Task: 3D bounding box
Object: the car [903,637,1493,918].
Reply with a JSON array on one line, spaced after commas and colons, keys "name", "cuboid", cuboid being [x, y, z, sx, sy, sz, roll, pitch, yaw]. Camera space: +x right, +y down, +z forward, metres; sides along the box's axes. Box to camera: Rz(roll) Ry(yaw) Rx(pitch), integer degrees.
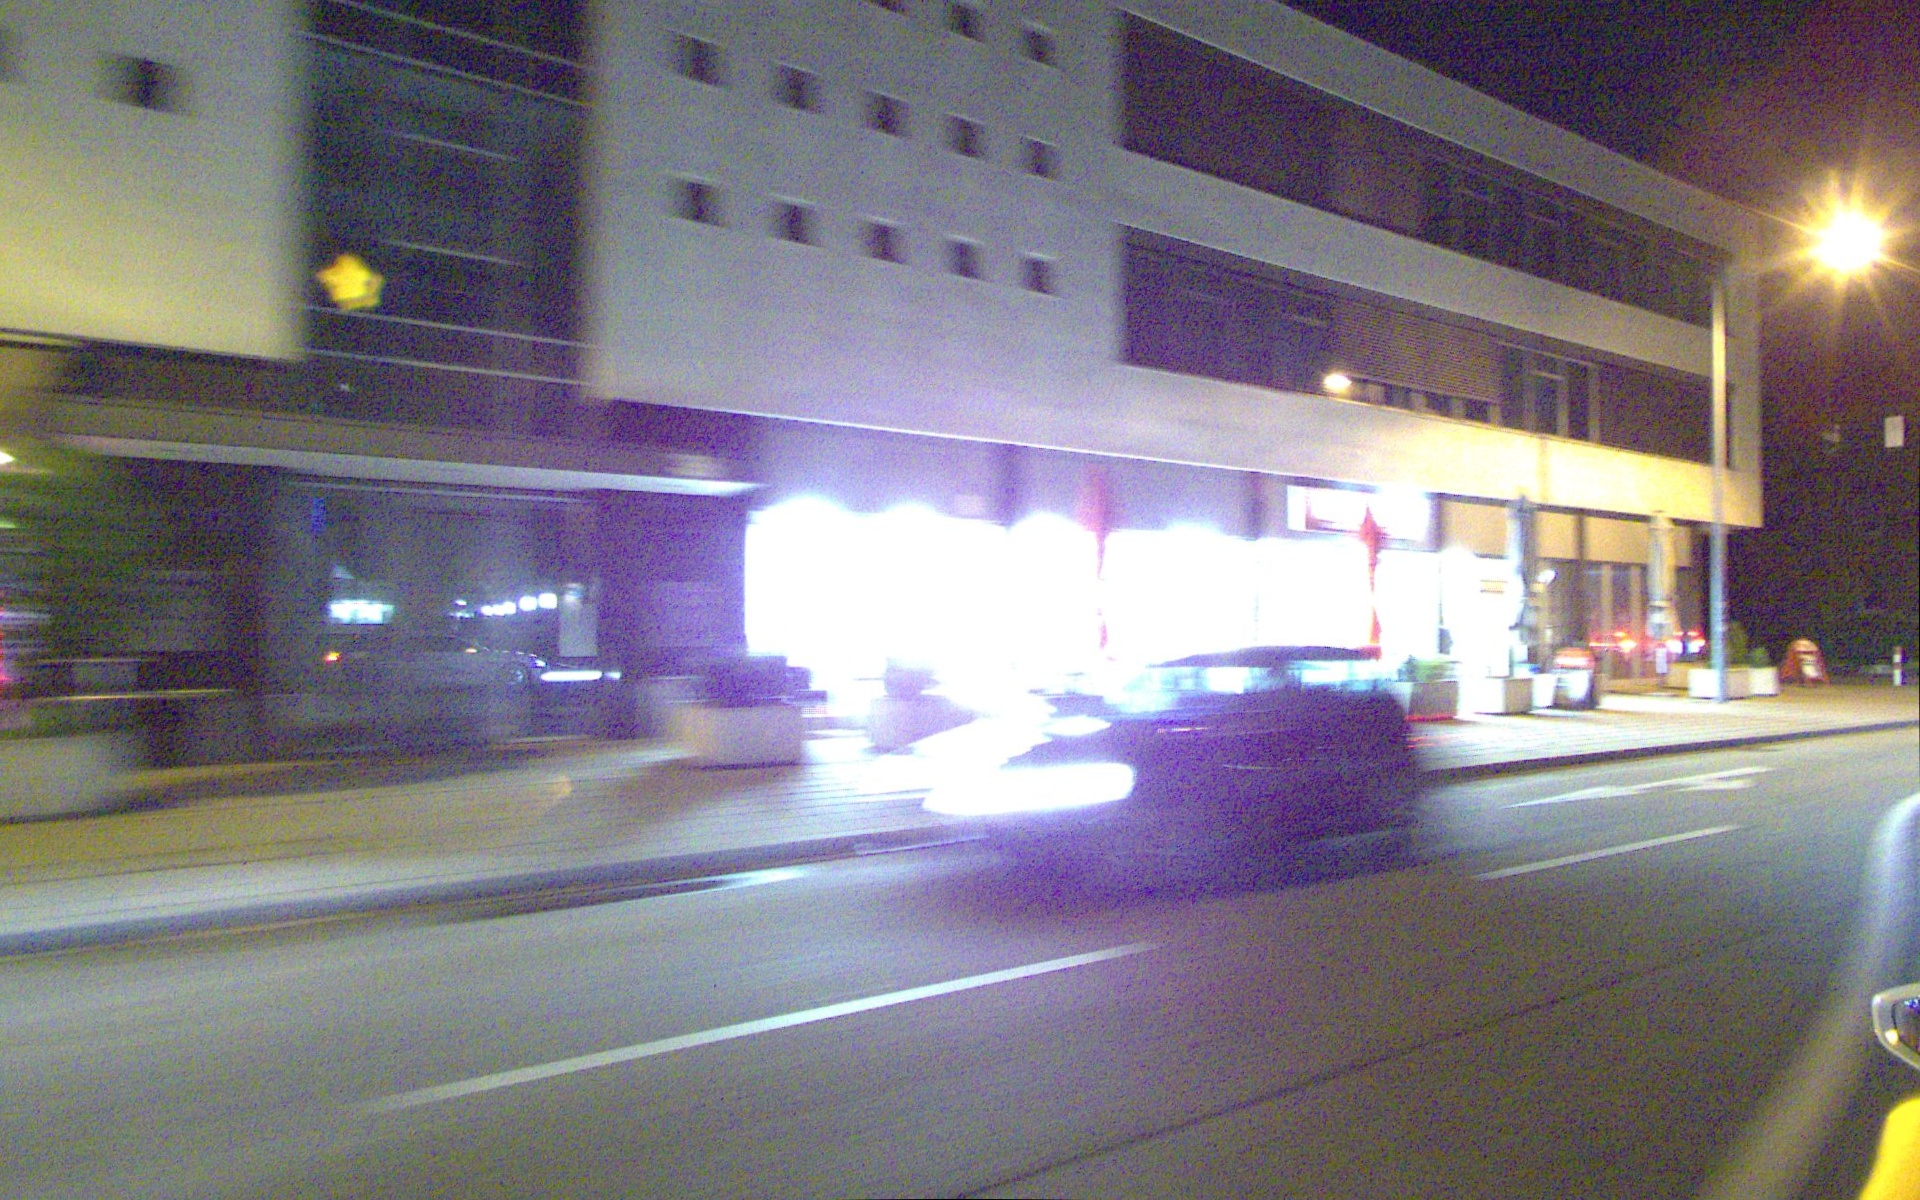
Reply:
[{"name": "car", "cuboid": [1.737, 1.006, 6.979, 3.954, 1.447, 1.659, 1, -4, -31]}]
